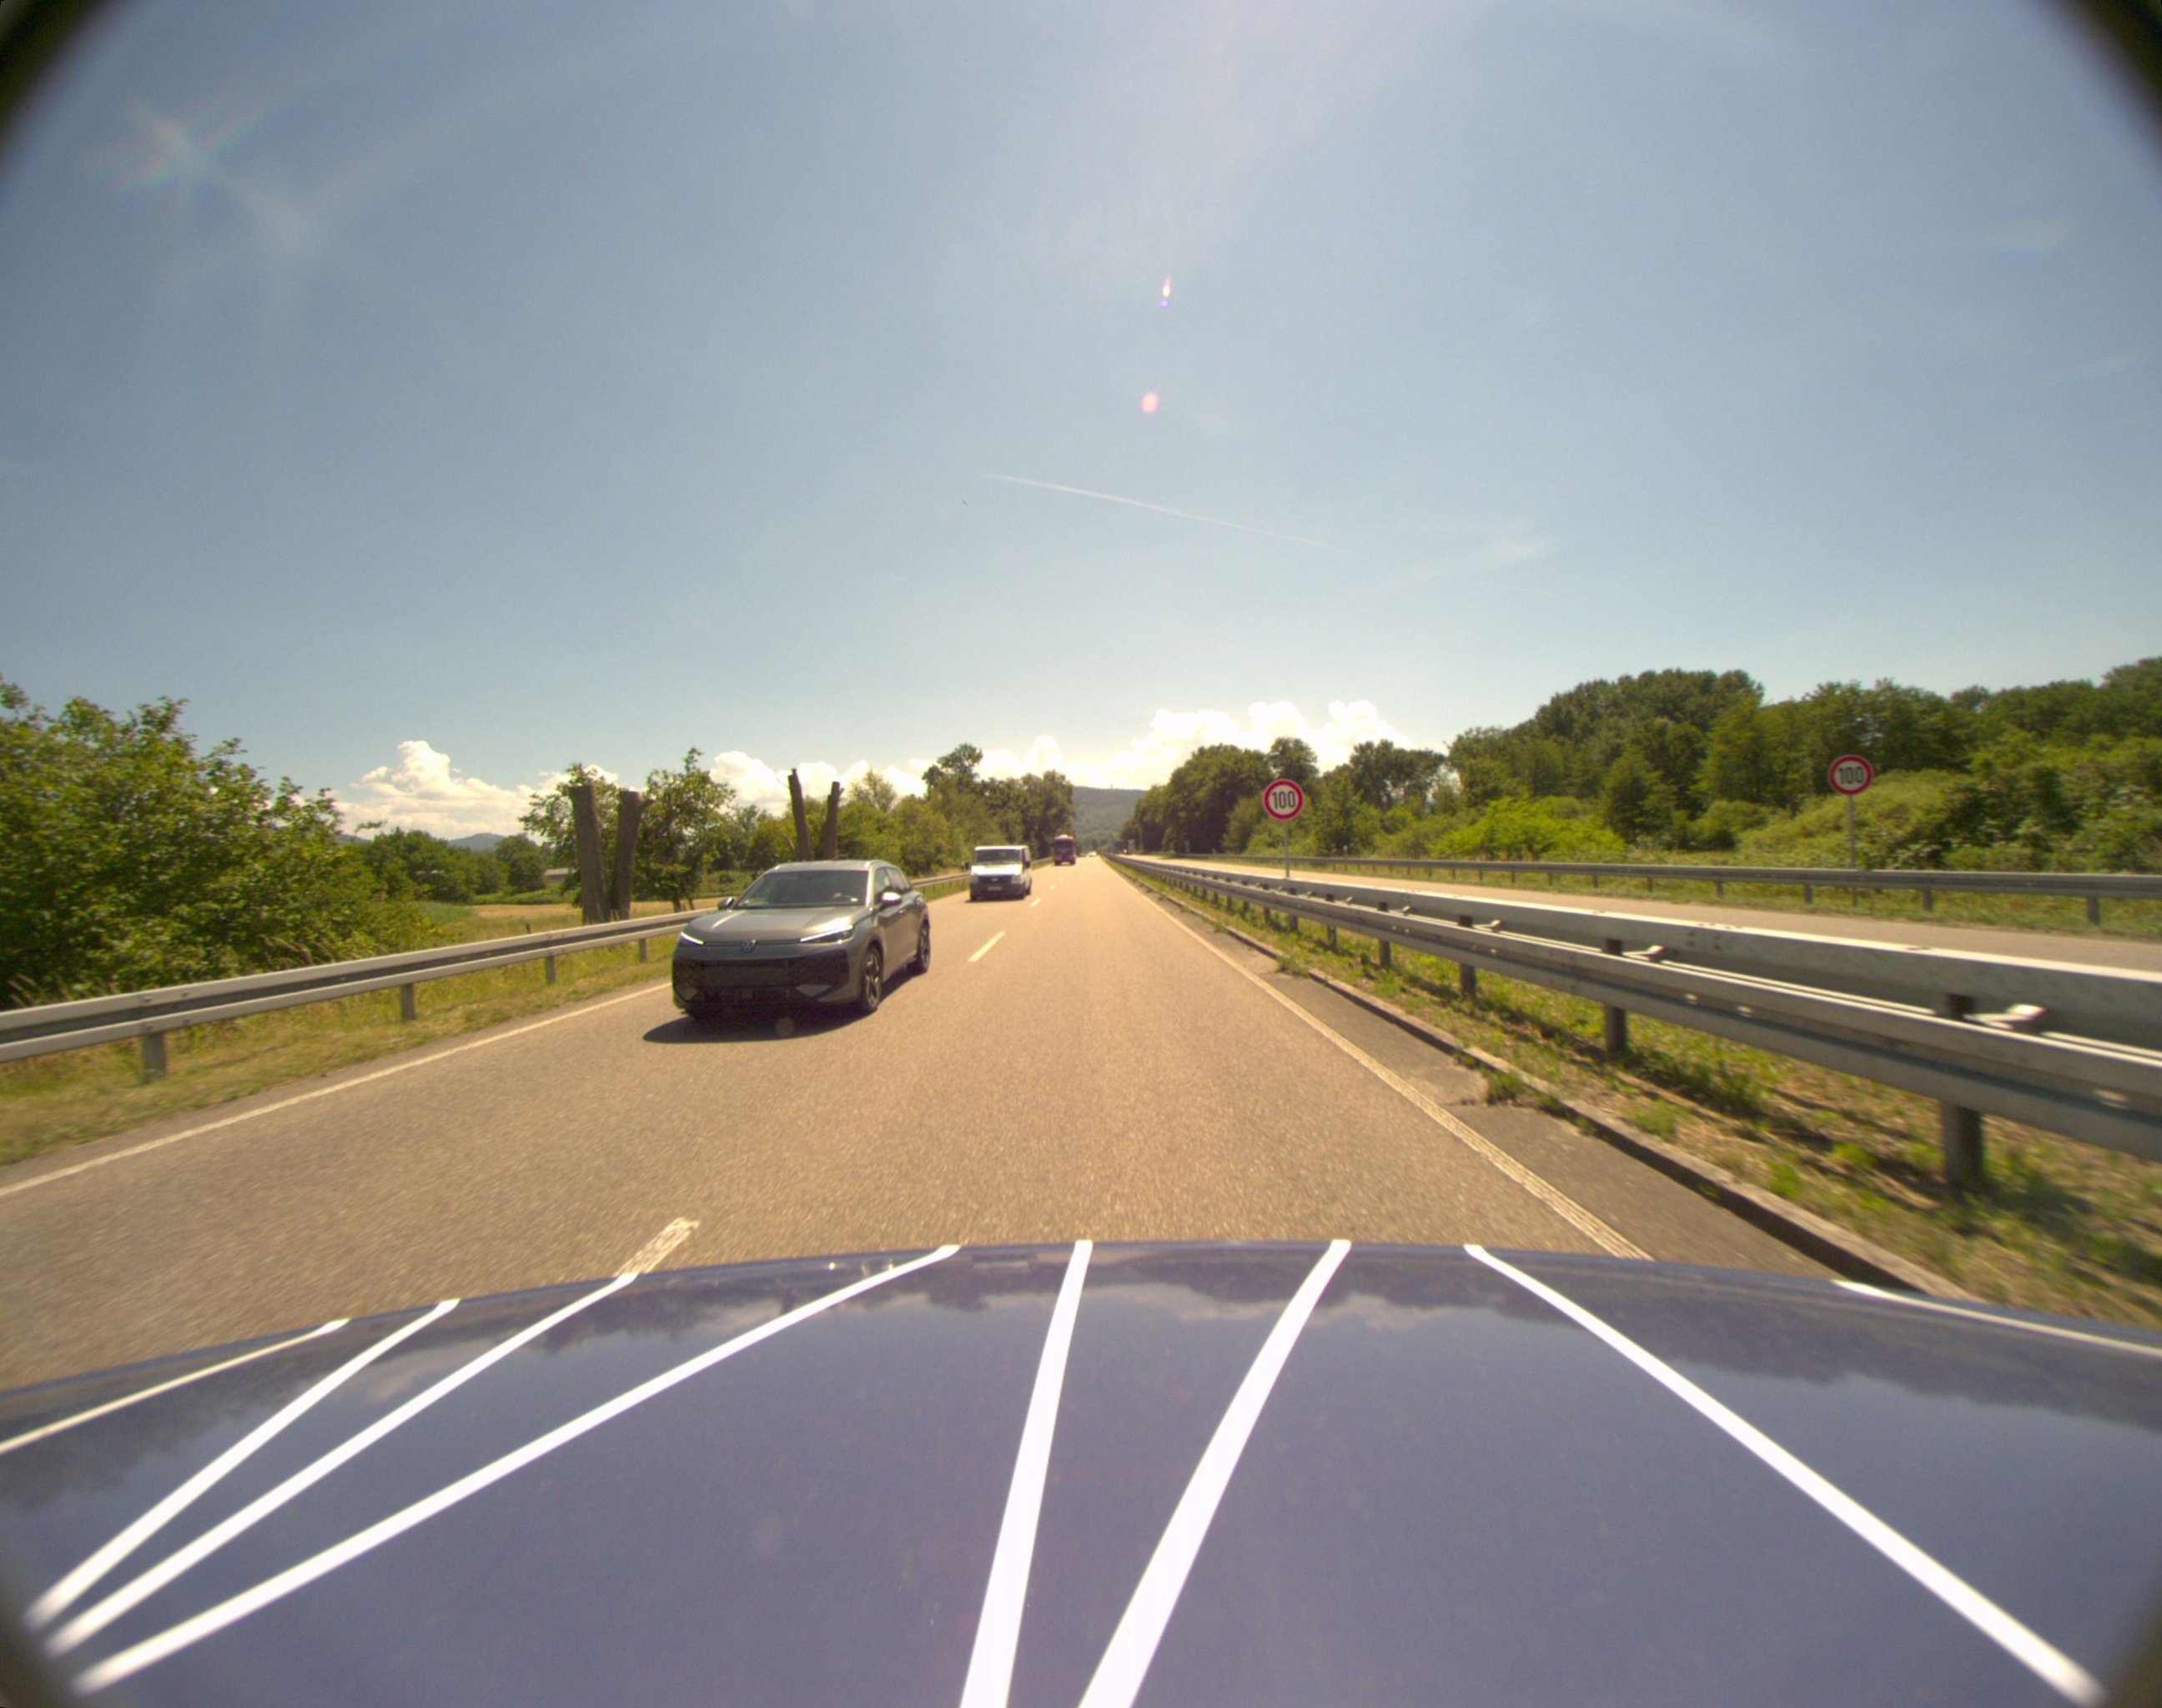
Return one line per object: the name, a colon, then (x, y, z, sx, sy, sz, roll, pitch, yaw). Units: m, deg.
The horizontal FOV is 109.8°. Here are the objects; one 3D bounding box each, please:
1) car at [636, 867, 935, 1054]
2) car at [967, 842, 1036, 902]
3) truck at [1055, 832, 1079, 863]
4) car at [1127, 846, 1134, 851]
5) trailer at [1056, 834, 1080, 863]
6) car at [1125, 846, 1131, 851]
car: (-2.970, 0.965, 8.652, 1.789, 1.544, 4.019, -2, 0, 0)
car: (-2.898, 0.652, 28.887, 2.011, 1.977, 5.034, -3, 0, 0)
truck: (-1.758, -0.732, 97.191, 2.605, 3.669, 5.939, -4, -1, 1)
car: (14.385, -1.552, 218.944, 1.802, 1.459, 3.773, -3, 0, 2)
trailer: (-1.683, -0.671, 101.784, 2.605, 3.607, 8.615, -4, -1, 1)
car: (15.684, -1.782, 255.478, 1.780, 1.411, 4.575, -2, 1, 2)
